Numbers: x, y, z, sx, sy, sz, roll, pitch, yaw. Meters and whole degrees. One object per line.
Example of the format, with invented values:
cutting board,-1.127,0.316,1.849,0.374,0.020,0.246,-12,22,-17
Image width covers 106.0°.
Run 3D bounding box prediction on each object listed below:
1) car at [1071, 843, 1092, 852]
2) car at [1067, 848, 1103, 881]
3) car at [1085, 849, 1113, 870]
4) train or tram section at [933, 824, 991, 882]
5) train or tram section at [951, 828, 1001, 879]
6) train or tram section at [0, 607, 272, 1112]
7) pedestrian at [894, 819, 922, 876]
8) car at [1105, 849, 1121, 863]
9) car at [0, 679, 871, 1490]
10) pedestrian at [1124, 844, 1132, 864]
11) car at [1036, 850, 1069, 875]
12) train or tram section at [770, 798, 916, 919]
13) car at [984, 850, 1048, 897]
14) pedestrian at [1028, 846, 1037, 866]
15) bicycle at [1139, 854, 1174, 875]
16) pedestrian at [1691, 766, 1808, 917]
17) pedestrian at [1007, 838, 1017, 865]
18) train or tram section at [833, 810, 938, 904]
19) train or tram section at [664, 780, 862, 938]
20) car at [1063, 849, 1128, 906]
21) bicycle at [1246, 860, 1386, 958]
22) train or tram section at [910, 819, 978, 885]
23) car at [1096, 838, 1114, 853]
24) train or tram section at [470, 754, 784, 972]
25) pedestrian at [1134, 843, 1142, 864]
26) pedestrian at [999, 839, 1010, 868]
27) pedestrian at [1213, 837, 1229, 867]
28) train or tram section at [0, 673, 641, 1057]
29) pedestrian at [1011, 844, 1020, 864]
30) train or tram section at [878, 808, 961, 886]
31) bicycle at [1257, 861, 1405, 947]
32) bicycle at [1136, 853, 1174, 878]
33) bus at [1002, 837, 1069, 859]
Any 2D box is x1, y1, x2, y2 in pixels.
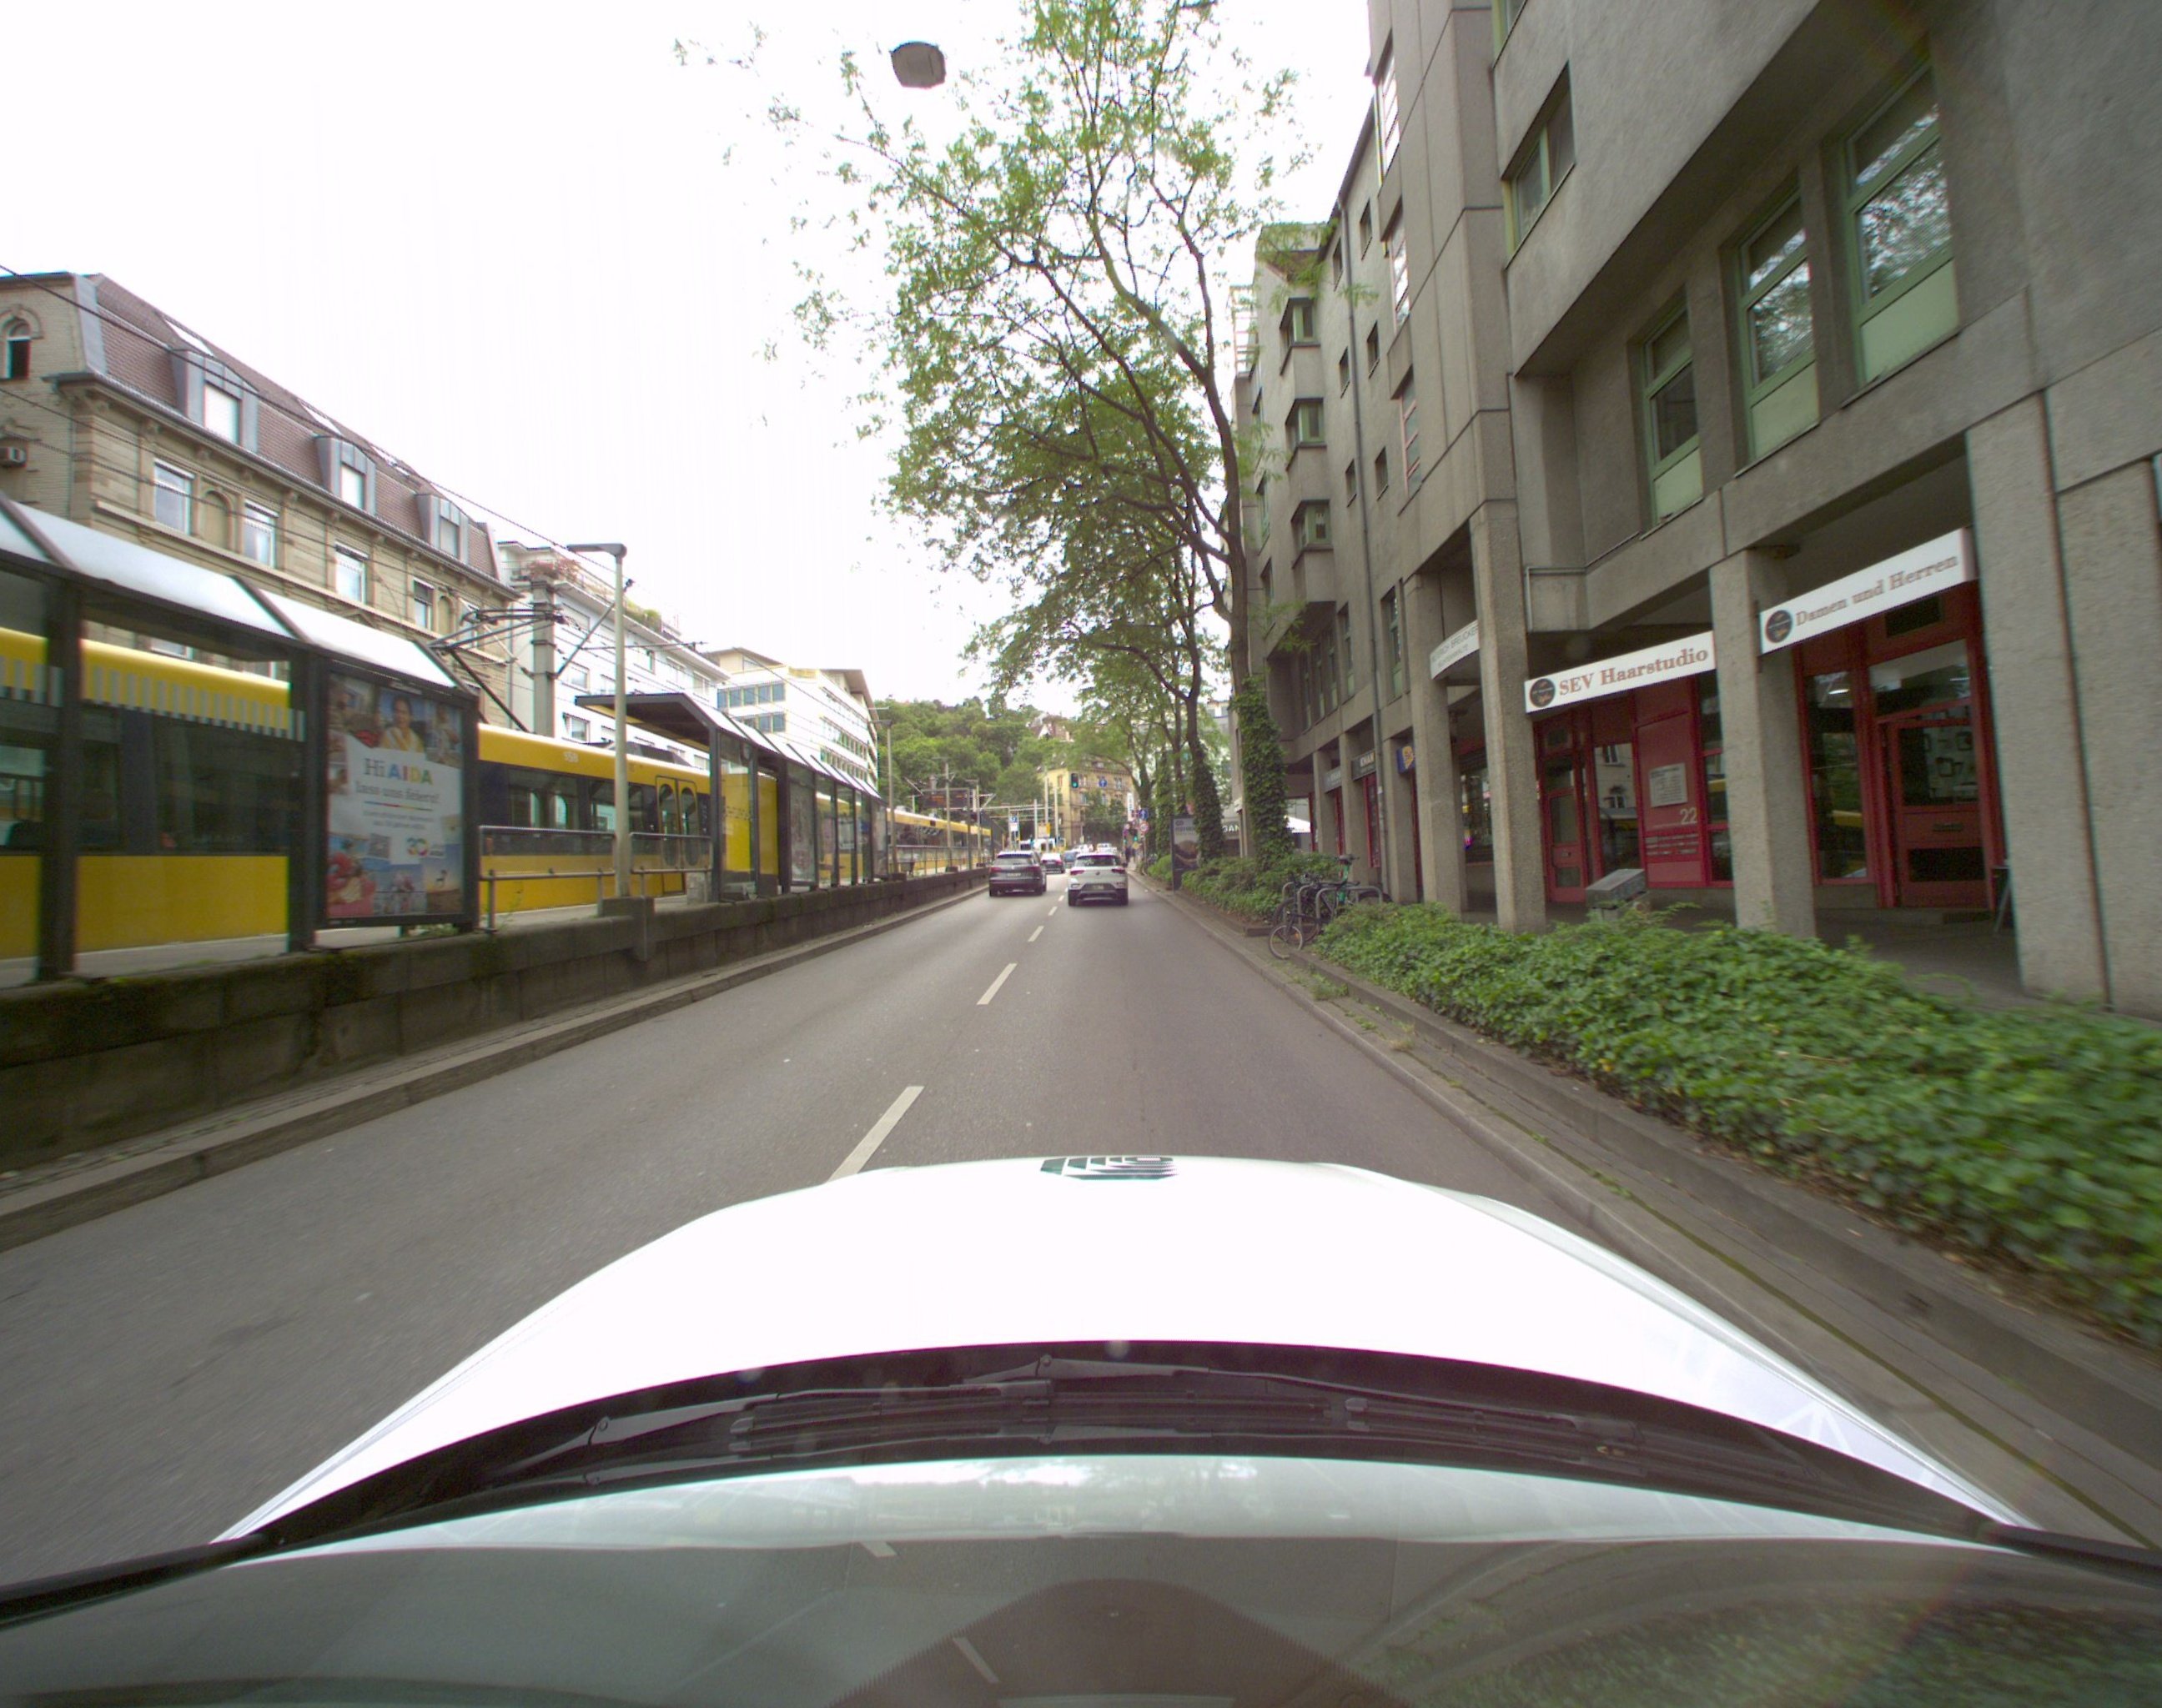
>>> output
car,0.177,-1.157,152.271,1.893,1.689,4.026,-1,0,35
car,0.278,0.584,44.737,1.878,1.684,4.162,-1,-2,1
car,1.463,0.465,68.076,1.882,1.684,4.153,-1,-2,-5
train or tram section,-8.055,-0.041,55.893,2.803,3.666,6.751,-1,-1,1
train or tram section,-7.960,0.005,62.666,2.803,3.666,6.751,-1,-1,1
train or tram section,-8.983,0.050,4.660,2.824,3.521,5.754,-1,-1,2
pedestrian,-5.499,-0.195,25.966,0.624,1.762,0.847,-3,0,1
car,4.050,0.238,102.884,1.876,1.684,4.165,-1,-2,4
car,-3.206,0.647,4.665,2.354,2.014,5.152,-1,-2,4
pedestrian,4.796,-0.025,83.155,0.758,2.014,0.840,-1,-2,7
car,-1.945,0.555,57.472,1.903,1.689,4.004,-1,0,4
train or tram section,-7.995,0.168,28.367,2.802,3.666,6.755,-1,-1,2
car,-2.406,0.699,31.046,1.986,1.636,4.001,-2,0,1
pedestrian,-4.996,0.188,84.134,0.759,2.014,0.839,-1,-2,2
bicycle,4.097,0.578,44.162,1.870,1.137,0.810,-1,-2,7
pedestrian,8.485,-0.158,10.367,0.828,1.803,0.724,-4,1,4
pedestrian,-5.357,-0.186,63.182,0.761,2.014,0.837,-1,-2,-6
train or tram section,-8.322,0.148,35.580,2.803,3.666,6.751,-1,-1,1
train or tram section,-8.242,0.137,22.037,2.802,3.666,5.905,-1,-1,2
car,0.511,0.672,25.202,1.830,1.584,4.160,-1,0,3
bicycle,3.050,0.707,10.694,1.612,1.128,0.614,-4,-1,5
train or tram section,-8.139,-0.099,49.133,2.803,3.666,6.751,-1,-1,1
car,3.554,-1.268,121.132,2.353,2.014,5.155,-1,-2,5
train or tram section,-8.482,0.169,16.198,2.824,3.521,5.754,-1,-1,2
pedestrian,5.643,-0.078,80.311,0.758,2.014,0.840,-1,-2,7
pedestrian,-5.536,-0.031,58.959,0.761,2.014,0.837,-1,-2,-6
pedestrian,7.736,-0.104,44.955,0.637,1.608,0.584,0,-2,-19
train or tram section,-8.721,0.125,10.440,2.824,3.521,5.754,-1,-1,2
pedestrian,-6.592,0.023,82.173,0.759,2.014,0.838,-1,-2,1
train or tram section,-8.245,-0.314,42.358,2.803,3.666,6.751,-1,-1,1
bicycle,3.633,0.715,11.902,1.910,1.076,0.613,-4,-1,-2
bicycle,3.879,0.602,42.673,1.868,1.266,0.767,-1,-2,12
bus,-7.631,-0.959,133.664,3.402,3.065,13.160,1,-2,-43
